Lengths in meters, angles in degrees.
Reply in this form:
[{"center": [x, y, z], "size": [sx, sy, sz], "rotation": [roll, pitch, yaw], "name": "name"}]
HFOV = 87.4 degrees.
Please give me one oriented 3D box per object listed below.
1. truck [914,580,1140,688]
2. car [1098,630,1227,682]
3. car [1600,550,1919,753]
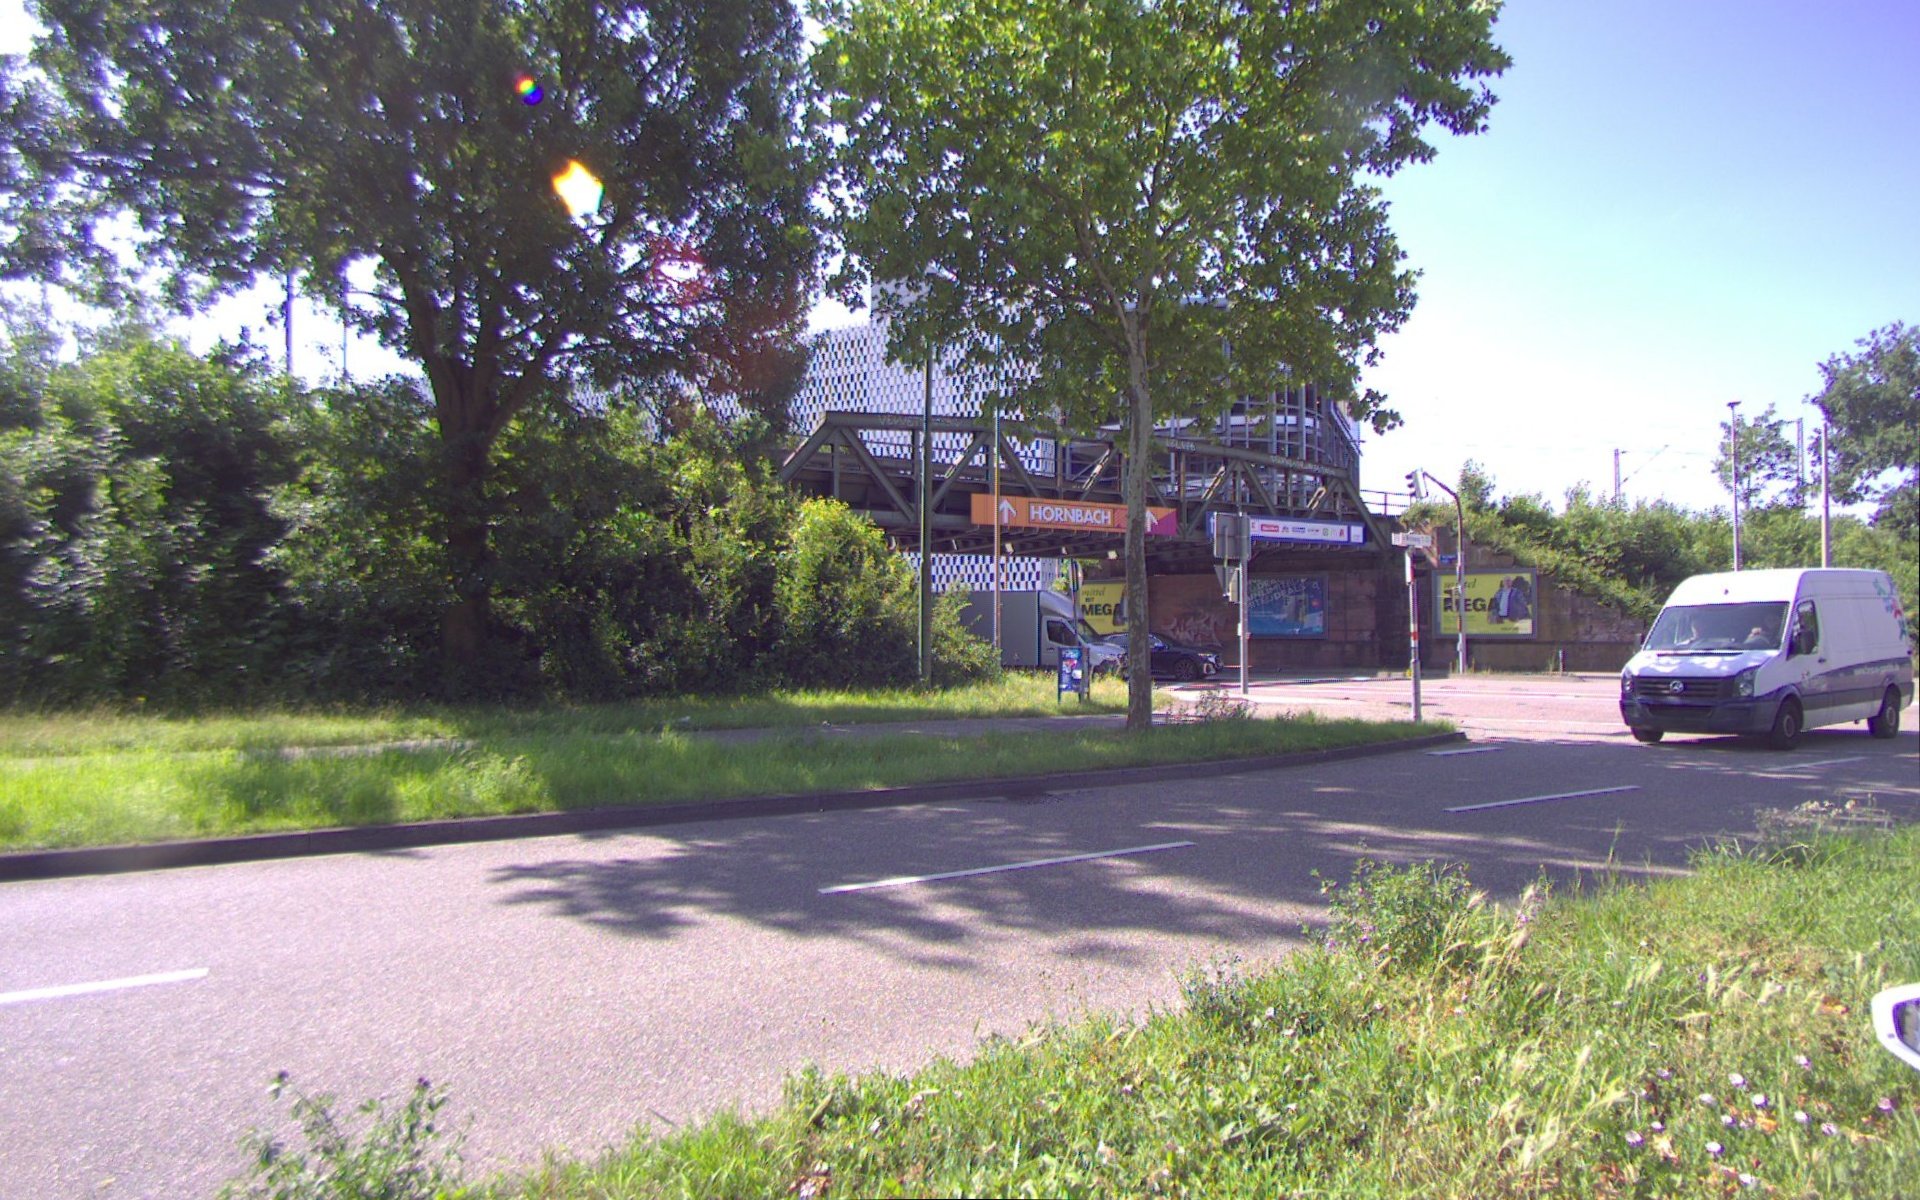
[{"center": [2.046, 1.119, 31.719], "size": [6.739, 3.146, 2.216], "rotation": [-2, -2, 27], "name": "truck"}, {"center": [6.898, 1.890, 34.190], "size": [3.926, 1.668, 1.902], "rotation": [-2, -2, 27], "name": "car"}, {"center": [12.610, 0.792, 15.696], "size": [5.719, 2.697, 1.984], "rotation": [1, -3, -30], "name": "car"}]
